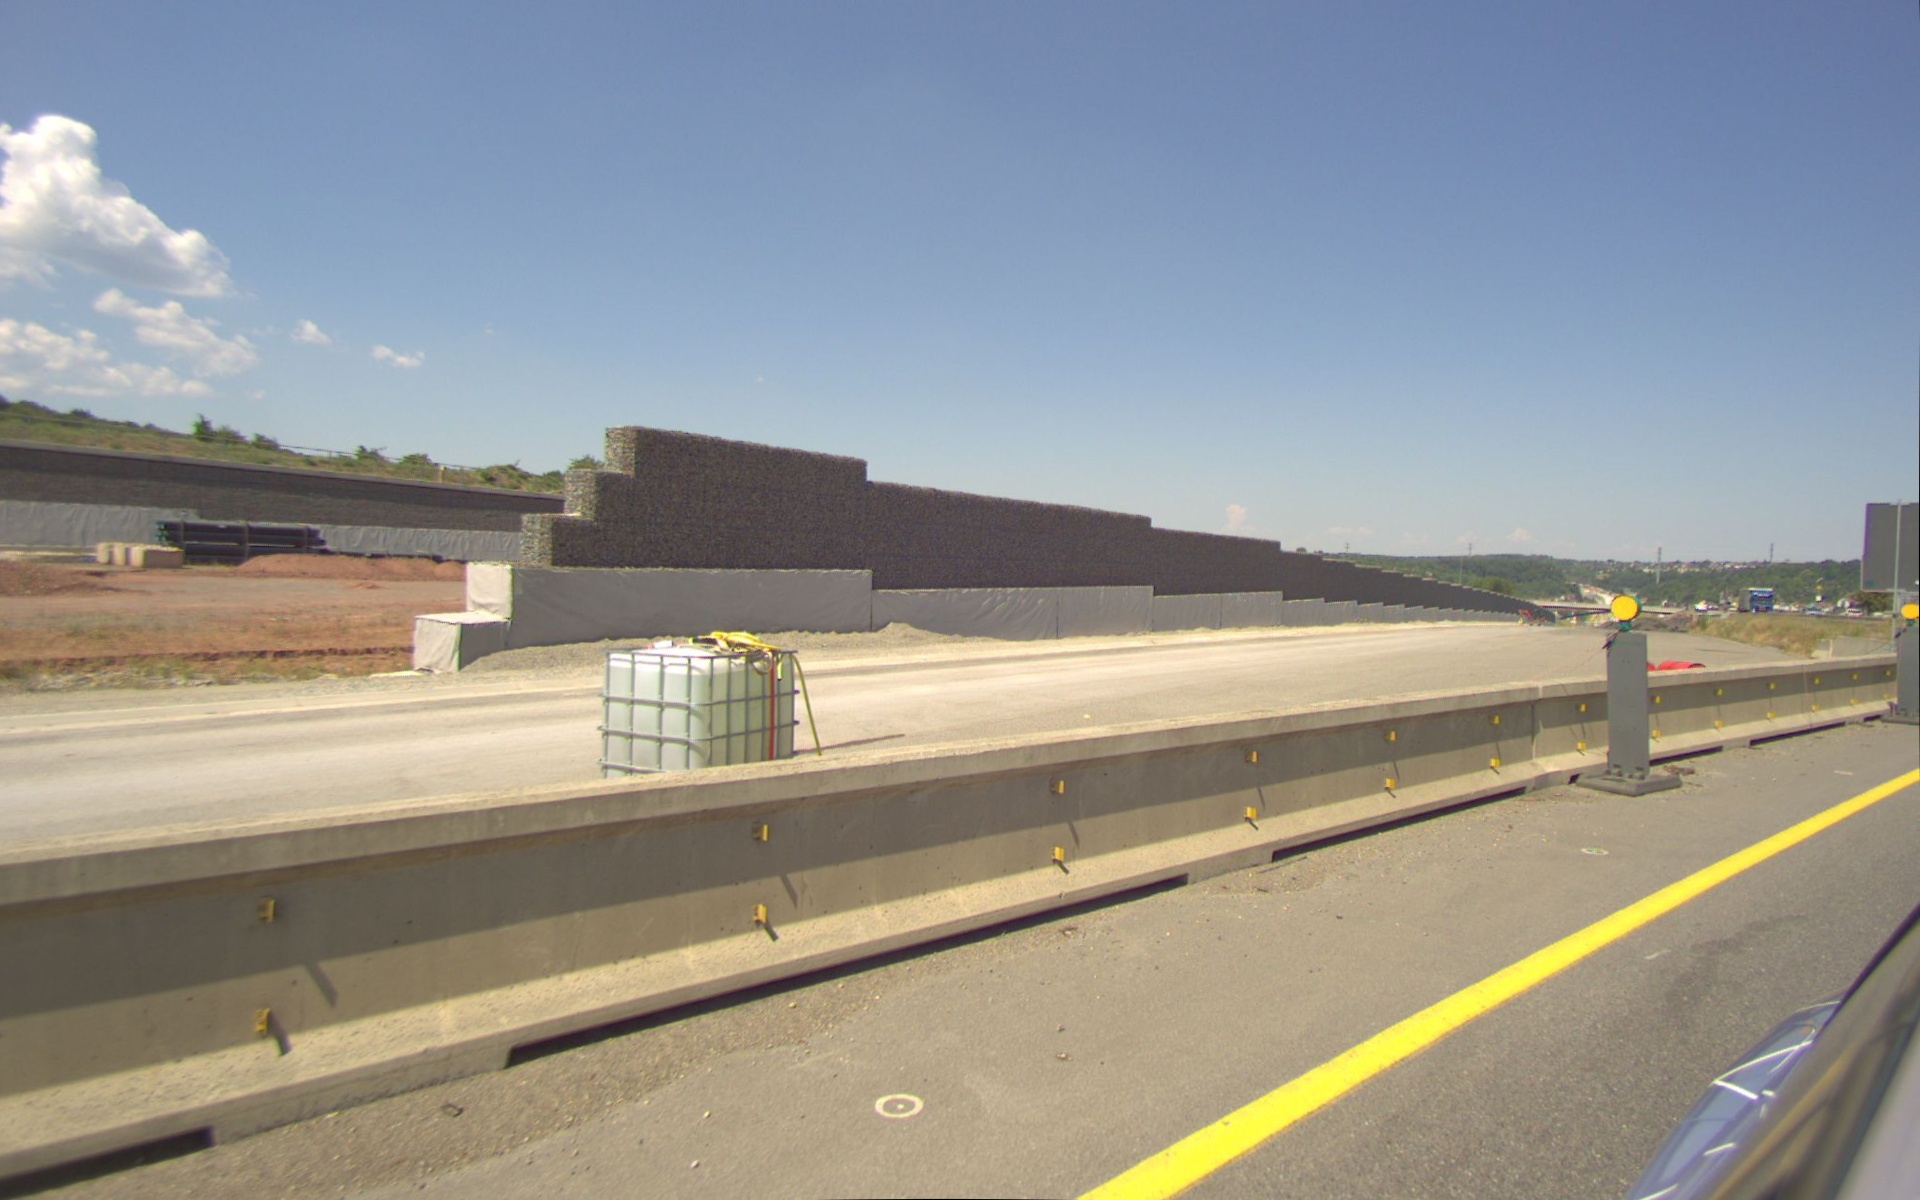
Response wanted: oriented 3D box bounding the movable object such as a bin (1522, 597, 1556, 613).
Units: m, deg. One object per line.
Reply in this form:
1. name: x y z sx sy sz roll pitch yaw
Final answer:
1. movable object such as a bin: 88.482 0.723 154.654 4.063 2.174 1.760 2 2 7
